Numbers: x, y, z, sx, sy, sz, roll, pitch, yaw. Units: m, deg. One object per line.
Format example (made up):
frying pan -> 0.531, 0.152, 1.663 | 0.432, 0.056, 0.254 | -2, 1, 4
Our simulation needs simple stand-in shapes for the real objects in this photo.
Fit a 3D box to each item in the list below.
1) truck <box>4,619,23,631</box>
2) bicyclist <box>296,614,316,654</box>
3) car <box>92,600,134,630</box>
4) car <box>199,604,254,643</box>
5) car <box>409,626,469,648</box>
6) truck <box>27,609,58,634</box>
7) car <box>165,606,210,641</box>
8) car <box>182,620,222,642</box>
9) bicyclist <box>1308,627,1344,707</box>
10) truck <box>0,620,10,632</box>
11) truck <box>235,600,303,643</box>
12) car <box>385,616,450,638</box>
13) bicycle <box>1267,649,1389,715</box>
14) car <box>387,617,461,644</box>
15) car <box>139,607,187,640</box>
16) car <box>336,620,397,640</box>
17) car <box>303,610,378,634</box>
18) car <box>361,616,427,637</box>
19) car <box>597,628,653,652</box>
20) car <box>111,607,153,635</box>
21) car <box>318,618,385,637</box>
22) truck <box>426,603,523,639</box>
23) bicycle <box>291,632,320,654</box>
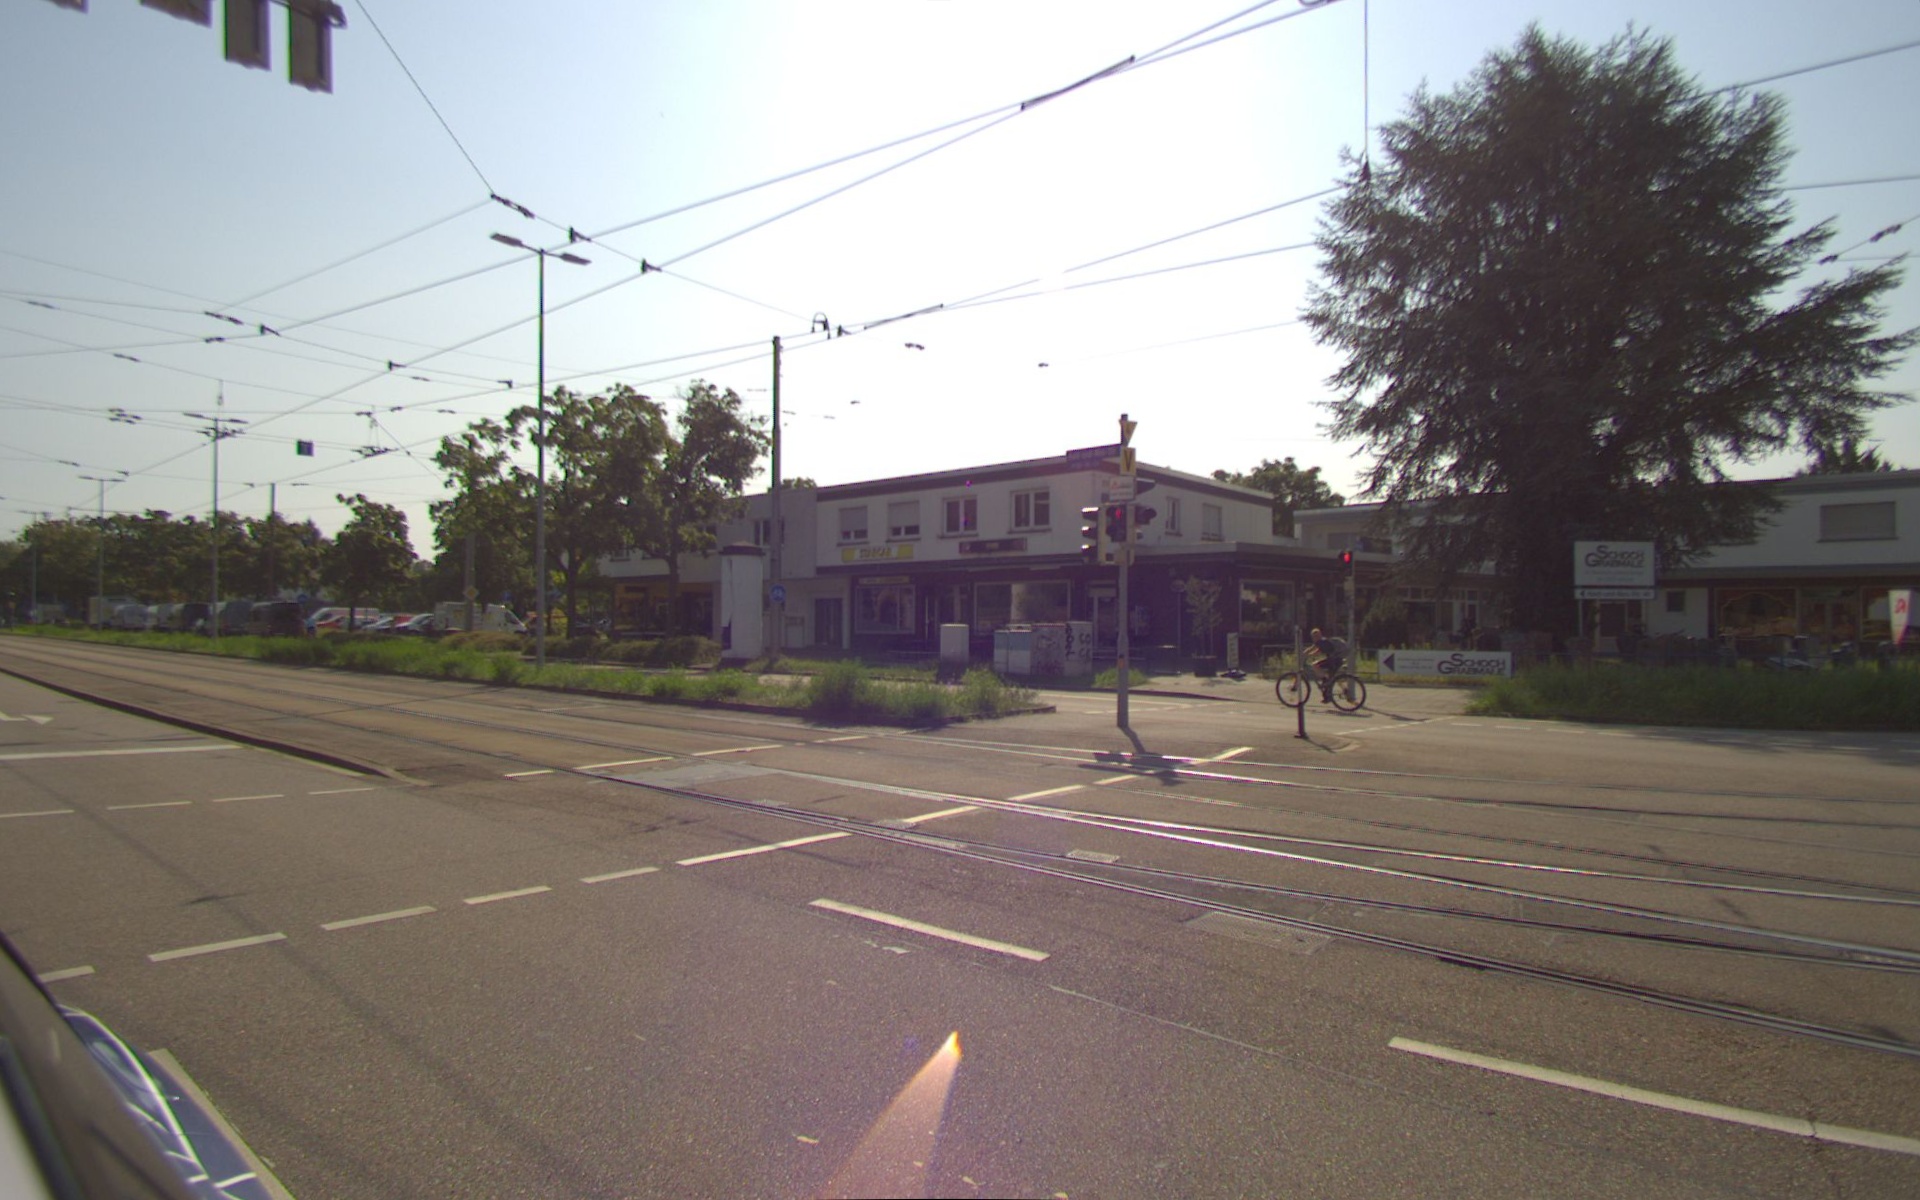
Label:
truck -> -139.383, 3.676, 149.025 | 3.654, 1.687, 1.669 | -1, -3, 42
bicyclist -> -34.765, 1.795, 53.798 | 0.774, 2.080, 0.630 | -1, -3, 42
car -> -84.072, 1.520, 100.445 | 7.229, 2.826, 2.102 | -1, -3, 42
car -> -51.162, 1.613, 70.486 | 6.468, 2.606, 1.966 | -1, -1, 44
car -> -36.641, 2.607, 71.230 | 1.632, 1.437, 3.370 | -1, -3, 40
truck -> -116.797, 2.725, 128.830 | 8.789, 3.145, 2.247 | -1, -3, 44
car -> -60.208, 1.819, 78.833 | 5.909, 2.606, 1.802 | -1, -1, 43
car -> -55.829, 2.280, 74.524 | 3.835, 1.564, 1.725 | -1, -1, 44
bicyclist -> 7.182, 1.300, 19.852 | 0.490, 1.534, 0.562 | -1, -4, 43
truck -> -147.269, 3.989, 155.338 | 3.654, 1.687, 1.669 | -1, -3, 42
truck -> -43.687, 1.337, 63.916 | 5.736, 2.567, 2.059 | -1, -3, 41
car -> -40.396, 2.011, 75.363 | 1.632, 1.530, 3.883 | -1, -3, 40
bicycle -> 7.175, 1.581, 19.822 | 2.208, 1.188, 0.568 | -1, -4, 43
car -> -38.775, 2.239, 73.288 | 1.632, 1.798, 4.353 | -1, -3, 40
car -> -66.349, 1.923, 84.193 | 5.629, 2.606, 2.109 | -1, -3, 42
car -> -48.274, 2.471, 82.383 | 1.632, 1.461, 3.883 | -1, -3, 40
car -> -54.031, 1.914, 88.298 | 2.051, 1.940, 5.132 | -1, -3, 40
car -> -43.549, 2.058, 77.935 | 4.107, 1.474, 1.626 | 3, -3, -43
car -> -26.499, 3.179, 80.093 | 3.758, 1.782, 1.760 | 4, -4, -44
car -> -76.984, 1.909, 94.082 | 4.829, 2.477, 2.121 | -1, -3, 40
car -> -51.744, 2.377, 86.102 | 1.632, 1.461, 4.606 | -1, -3, 40
truck -> -32.792, 1.449, 68.535 | 2.258, 2.189, 5.433 | -1, -3, 40
bicycle -> -34.768, 2.287, 53.765 | 2.265, 1.099, 0.707 | -1, -3, 42
